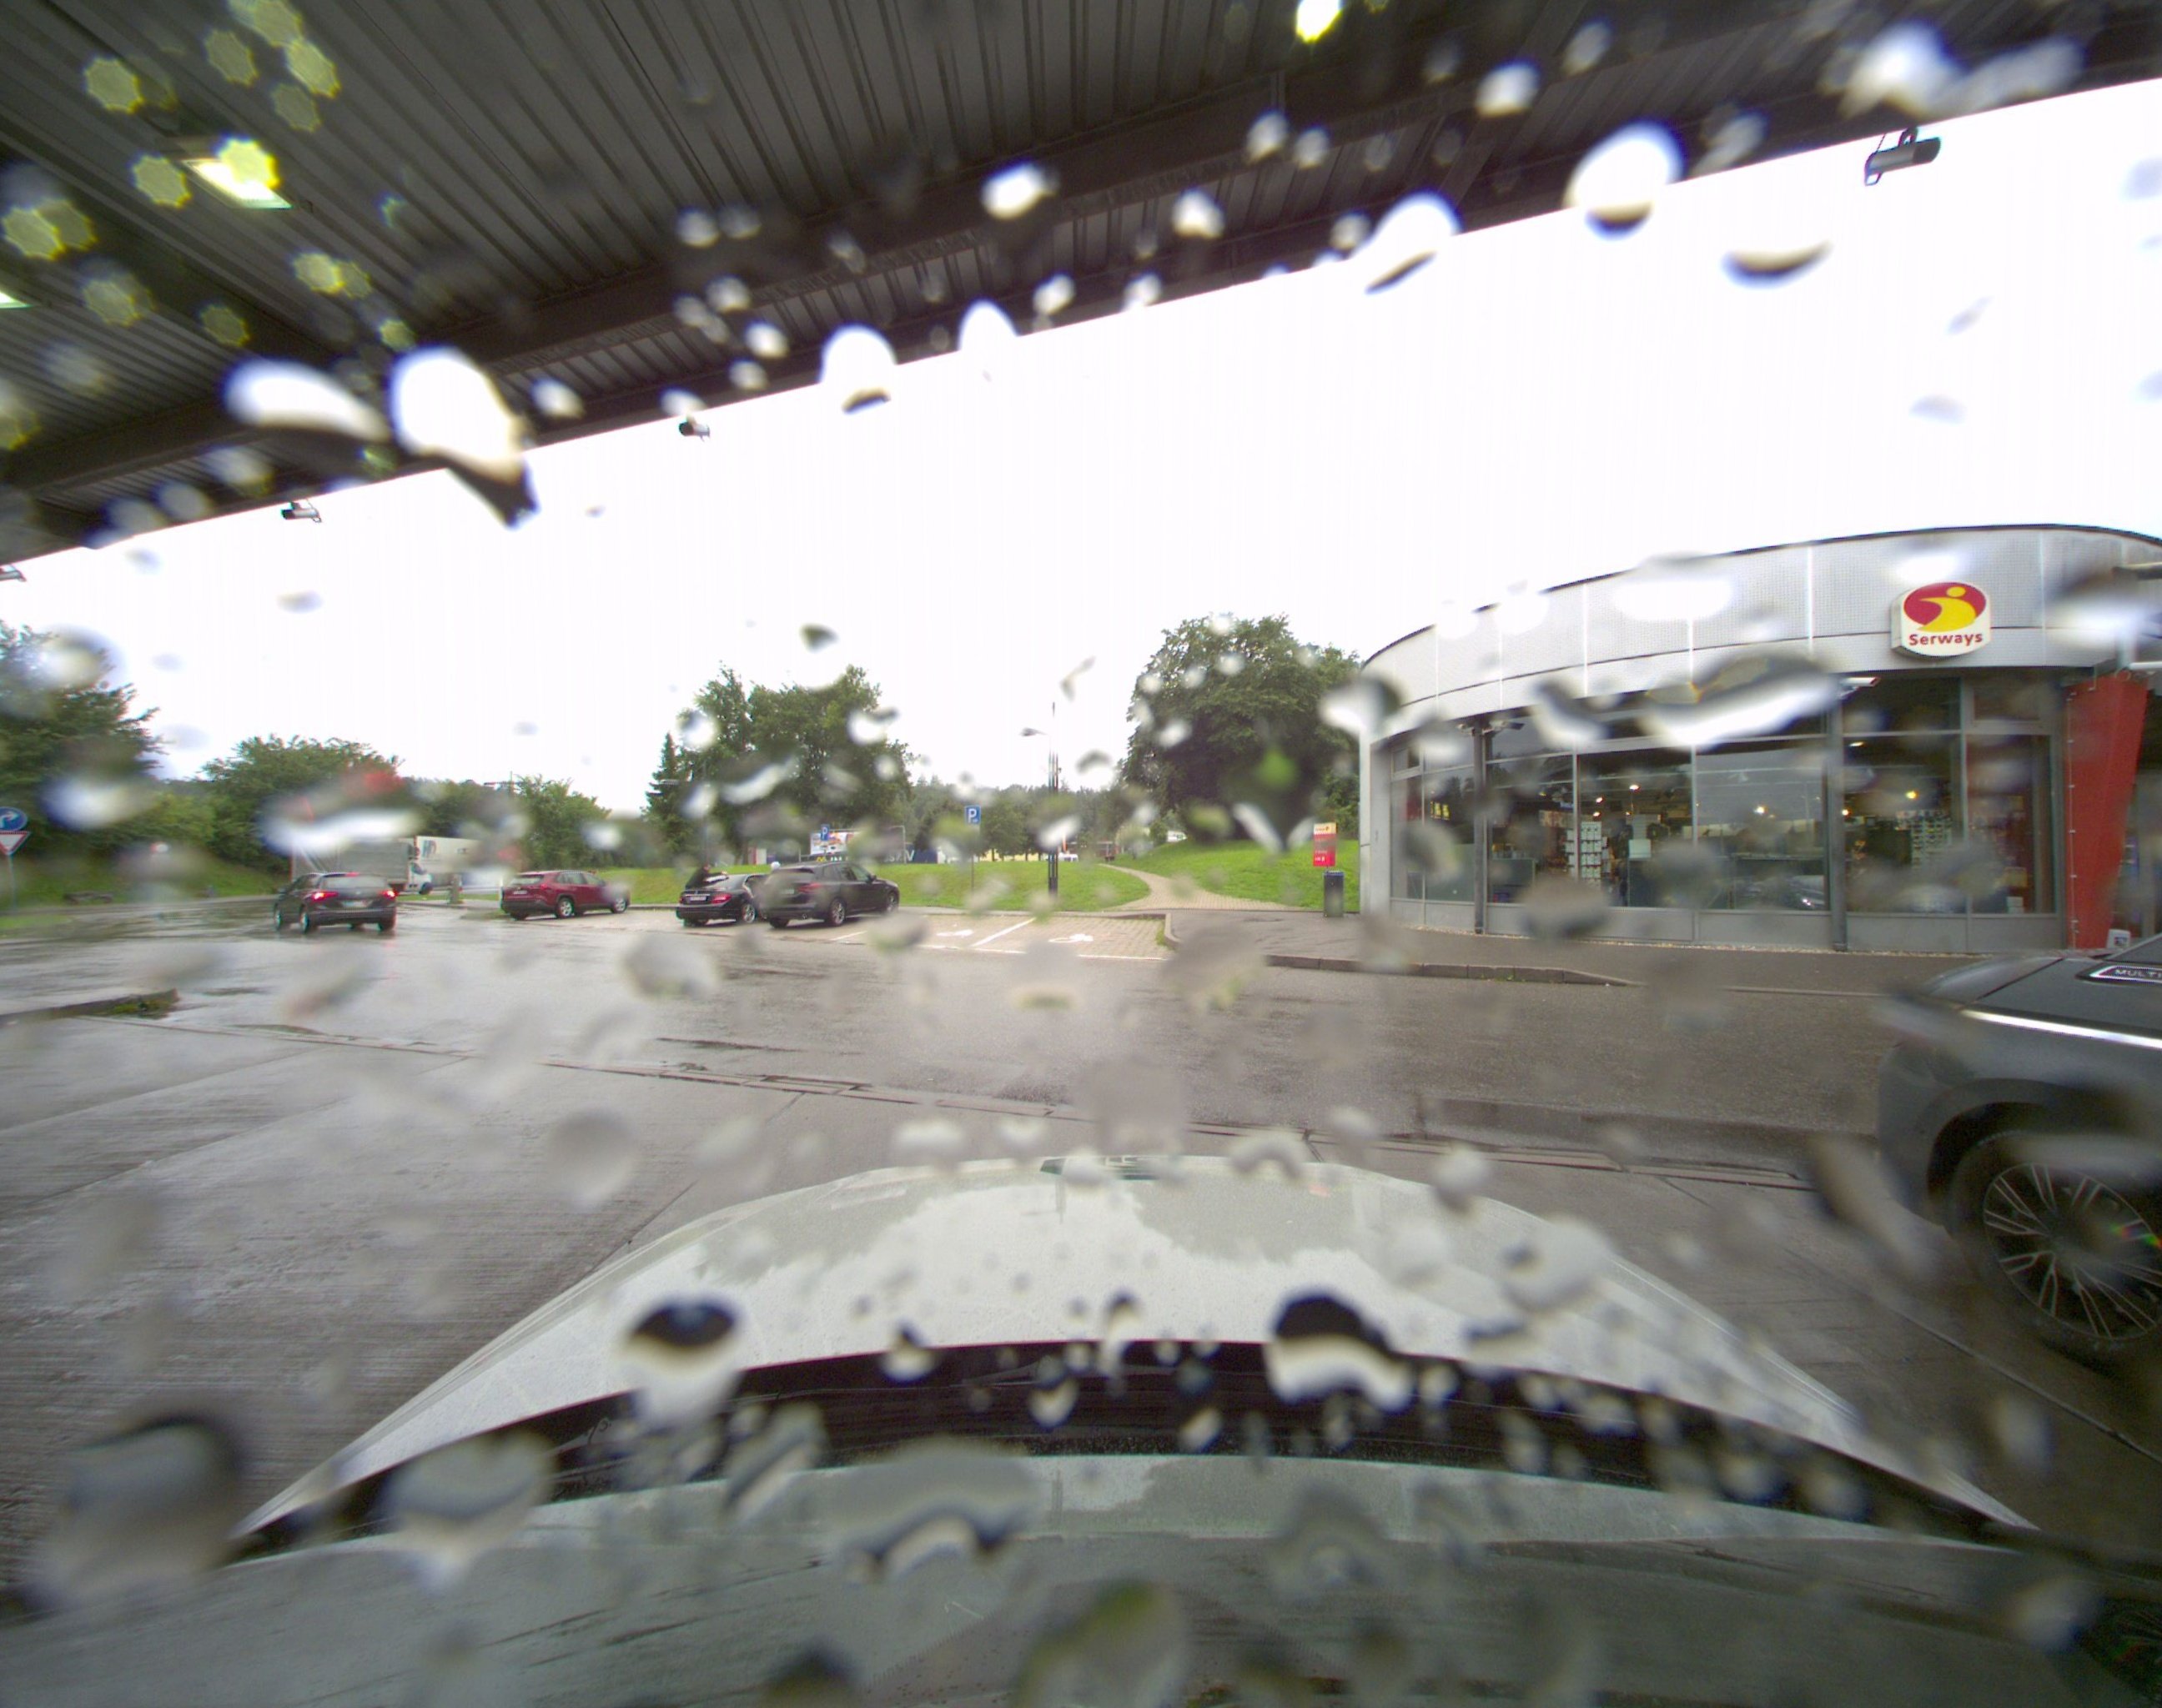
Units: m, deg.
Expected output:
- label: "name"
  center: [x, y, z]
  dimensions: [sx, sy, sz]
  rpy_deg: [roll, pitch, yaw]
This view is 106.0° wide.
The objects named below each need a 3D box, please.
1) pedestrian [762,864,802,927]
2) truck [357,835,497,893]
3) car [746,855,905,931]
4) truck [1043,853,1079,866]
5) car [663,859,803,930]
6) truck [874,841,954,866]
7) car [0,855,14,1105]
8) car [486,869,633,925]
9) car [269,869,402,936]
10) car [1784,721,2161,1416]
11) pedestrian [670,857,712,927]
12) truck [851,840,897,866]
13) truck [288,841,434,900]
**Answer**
- label: "pedestrian"
  center: [-7.984, 1.087, 21.749]
  dimensions: [0.956, 1.631, 0.698]
  rpy_deg: [0, -1, -26]
- label: "truck"
  center: [-55.441, 0.830, 69.977]
  dimensions: [3.550, 4.340, 16.899]
  rpy_deg: [0, -1, -18]
- label: "car"
  center: [-6.646, 0.966, 21.780]
  dimensions: [2.002, 1.711, 4.360]
  rpy_deg: [-2, 0, 14]
- label: "truck"
  center: [-3.244, 0.871, 134.105]
  dimensions: [5.356, 2.014, 2.381]
  rpy_deg: [-1, -1, 26]
- label: "car"
  center: [-9.832, 1.076, 23.424]
  dimensions: [2.010, 1.711, 4.344]
  rpy_deg: [-2, 0, 1]
- label: "truck"
  center: [-20.749, -0.062, 102.347]
  dimensions: [2.165, 2.920, 13.175]
  rpy_deg: [-1, -1, 26]
- label: "car"
  center: [-7.965, 0.797, 2.676]
  dimensions: [1.854, 1.608, 5.273]
  rpy_deg: [0, -1, 2]
- label: "car"
  center: [-18.134, 1.435, 28.592]
  dimensions: [1.928, 1.644, 4.352]
  rpy_deg: [-2, 0, 7]
- label: "car"
  center: [-20.734, 1.287, 22.624]
  dimensions: [3.948, 1.678, 2.013]
  rpy_deg: [-2, -1, 37]
- label: "car"
  center: [3.677, 0.539, 0.677]
  dimensions: [1.854, 1.798, 5.142]
  rpy_deg: [0, -1, 2]
- label: "pedestrian"
  center: [-10.799, 1.030, 22.547]
  dimensions: [0.882, 1.887, 0.708]
  rpy_deg: [-1, -1, 38]
- label: "truck"
  center: [-24.181, -0.094, 95.455]
  dimensions: [2.165, 2.920, 5.419]
  rpy_deg: [-1, -1, 27]
- label: "truck"
  center: [-41.363, 0.911, 47.178]
  dimensions: [2.474, 3.085, 7.341]
  rpy_deg: [0, -1, -6]
